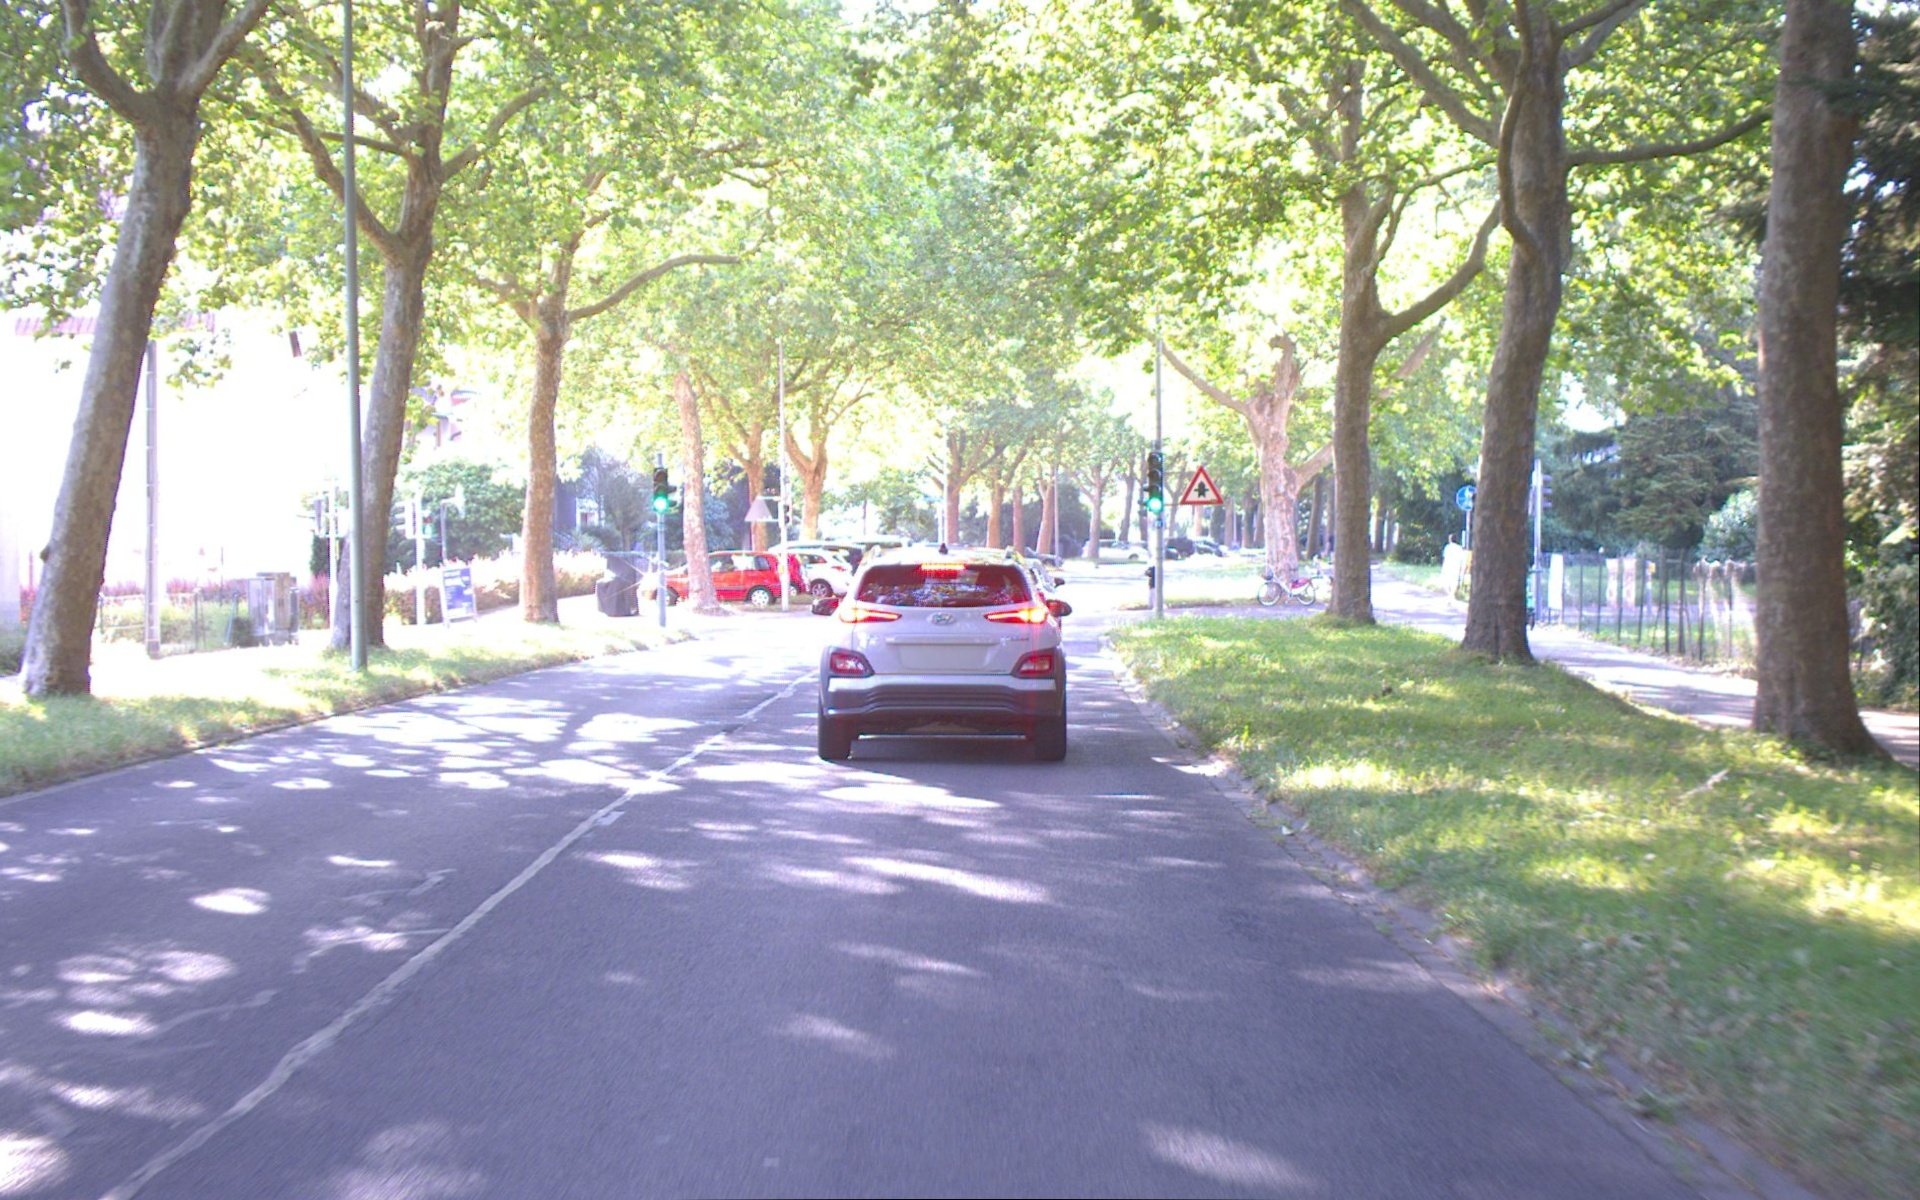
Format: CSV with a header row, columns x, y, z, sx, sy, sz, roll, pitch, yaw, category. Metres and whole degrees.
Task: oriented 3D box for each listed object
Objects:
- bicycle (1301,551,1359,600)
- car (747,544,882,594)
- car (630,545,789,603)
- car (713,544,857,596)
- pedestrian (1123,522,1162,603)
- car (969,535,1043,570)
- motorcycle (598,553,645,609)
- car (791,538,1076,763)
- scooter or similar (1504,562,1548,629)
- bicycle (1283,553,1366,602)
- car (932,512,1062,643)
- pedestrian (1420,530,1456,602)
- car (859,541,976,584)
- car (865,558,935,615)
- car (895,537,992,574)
x,y,z,sx,sy,sz,roll,pitch,yaw,category
9.153,-0.610,85.062,0.603,1.179,2.119,1,0,-18,bicycle
-4.471,-0.947,106.004,3.987,1.473,2.000,1,0,2,car
-6.626,-0.693,91.161,3.987,1.473,2.000,1,0,2,car
-5.134,-0.868,101.185,3.987,1.473,2.000,1,0,4,car
4.576,-0.949,85.949,0.868,2.007,0.813,1,1,10,pedestrian
2.439,-2.519,182.505,3.668,1.802,1.749,0,1,-7,car
-8.542,-0.484,86.882,0.846,1.374,2.776,1,0,1,motorcycle
-0.150,0.338,26.259,1.993,1.569,4.000,1,1,1,car
10.823,-0.094,65.775,0.549,1.254,2.313,1,0,3,scooter or similar
8.855,-0.549,83.635,0.603,1.160,2.149,0,0,-42,bicycle
0.559,-0.361,55.165,1.993,2.007,4.000,1,1,0,car
11.602,-0.819,83.416,0.834,1.730,0.884,1,0,10,pedestrian
-1.483,-1.314,120.763,3.987,1.473,2.000,1,0,2,car
-1.619,-0.384,93.484,1.688,1.432,3.682,1,1,2,car
-0.694,-1.860,144.527,3.987,1.473,2.000,1,0,2,car
